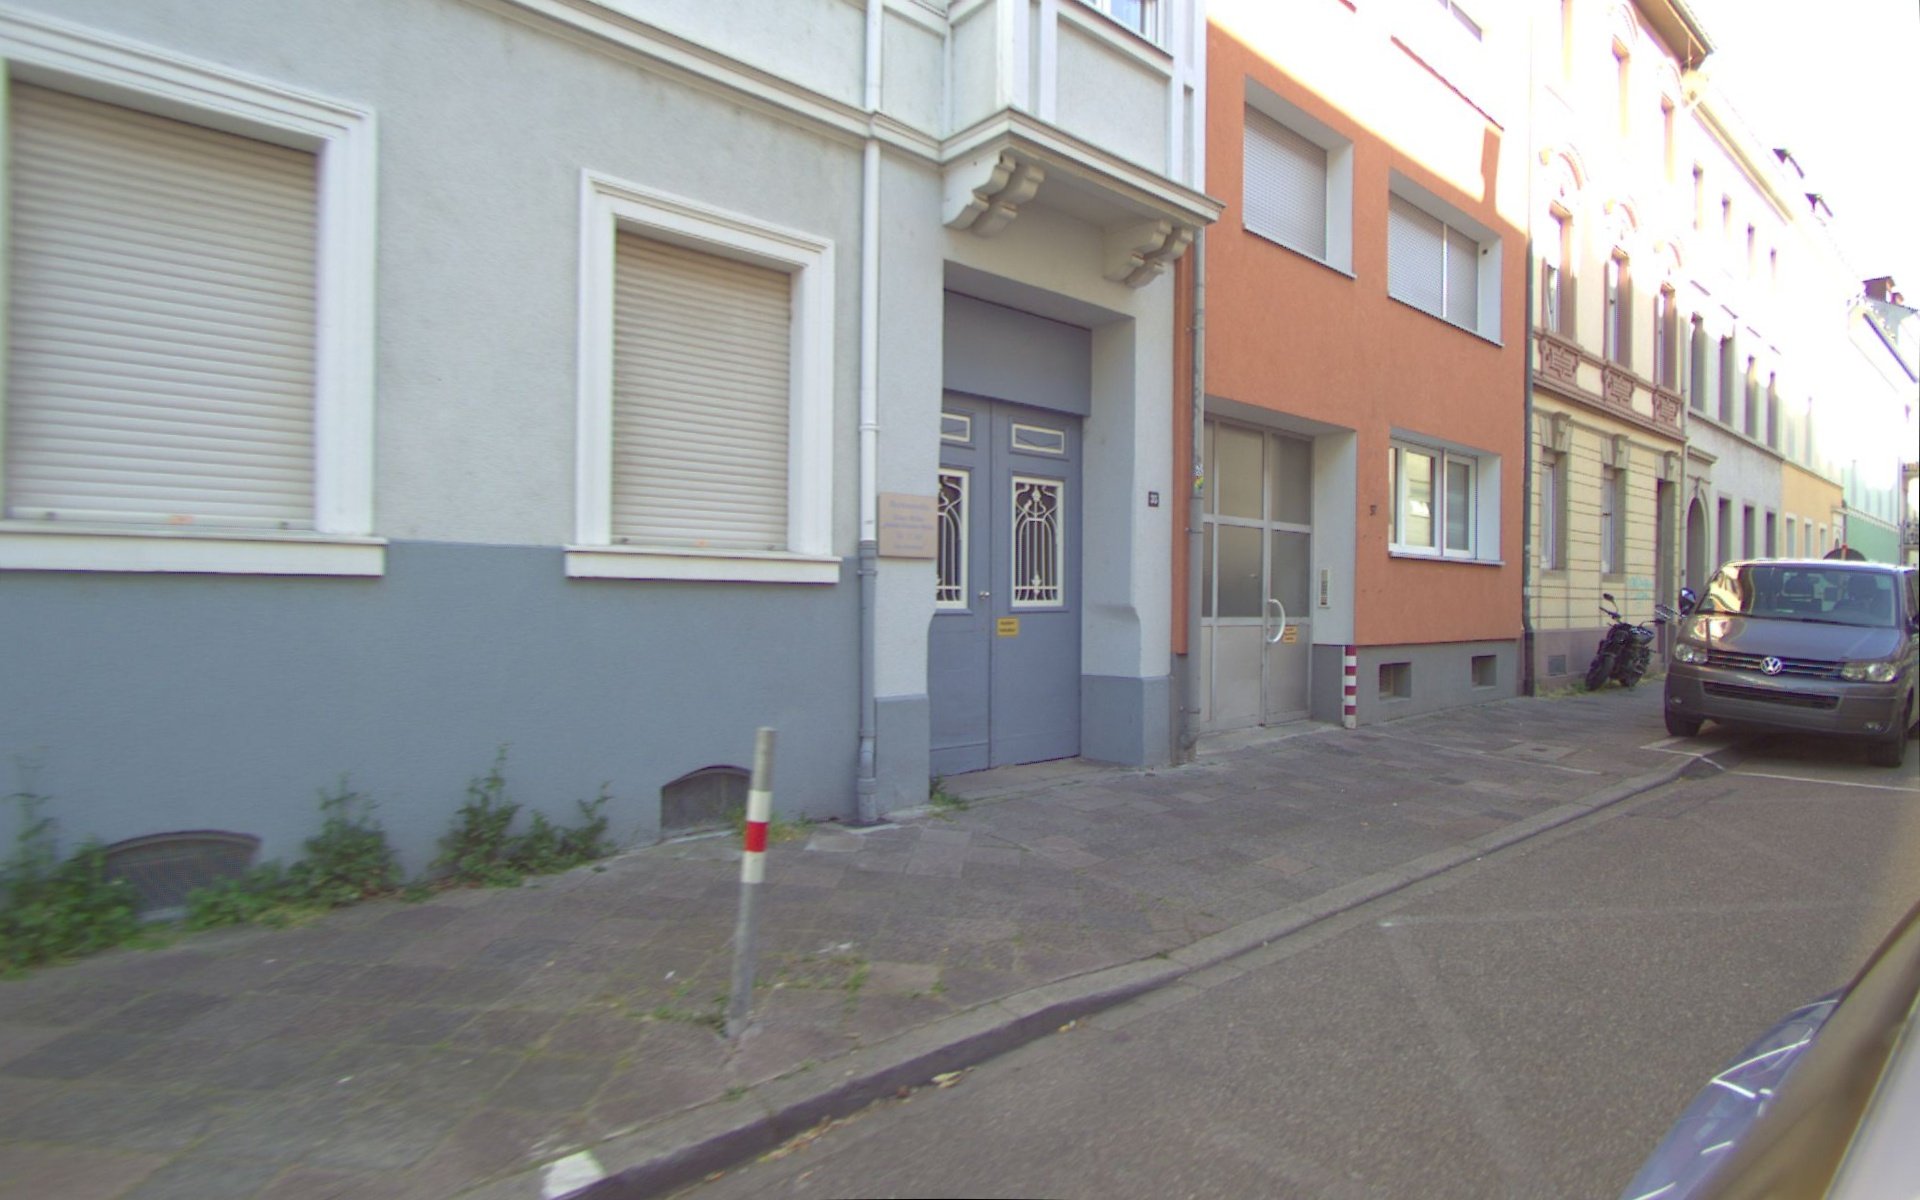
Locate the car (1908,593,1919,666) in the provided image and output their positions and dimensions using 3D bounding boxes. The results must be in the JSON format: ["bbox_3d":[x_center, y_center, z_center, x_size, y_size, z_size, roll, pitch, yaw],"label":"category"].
[{"bbox_3d":[22.502,0.624,22.440,3.980,1.562,1.743,-1,1,-41],"label":"car"}]

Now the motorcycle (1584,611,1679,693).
[{"bbox_3d":[9.986,0.732,15.006,2.323,1.057,0.637,-1,1,-43],"label":"motorcycle"}]

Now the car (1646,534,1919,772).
[{"bbox_3d":[9.378,0.462,11.076,4.815,2.055,1.972,0,-1,-42],"label":"car"}]
